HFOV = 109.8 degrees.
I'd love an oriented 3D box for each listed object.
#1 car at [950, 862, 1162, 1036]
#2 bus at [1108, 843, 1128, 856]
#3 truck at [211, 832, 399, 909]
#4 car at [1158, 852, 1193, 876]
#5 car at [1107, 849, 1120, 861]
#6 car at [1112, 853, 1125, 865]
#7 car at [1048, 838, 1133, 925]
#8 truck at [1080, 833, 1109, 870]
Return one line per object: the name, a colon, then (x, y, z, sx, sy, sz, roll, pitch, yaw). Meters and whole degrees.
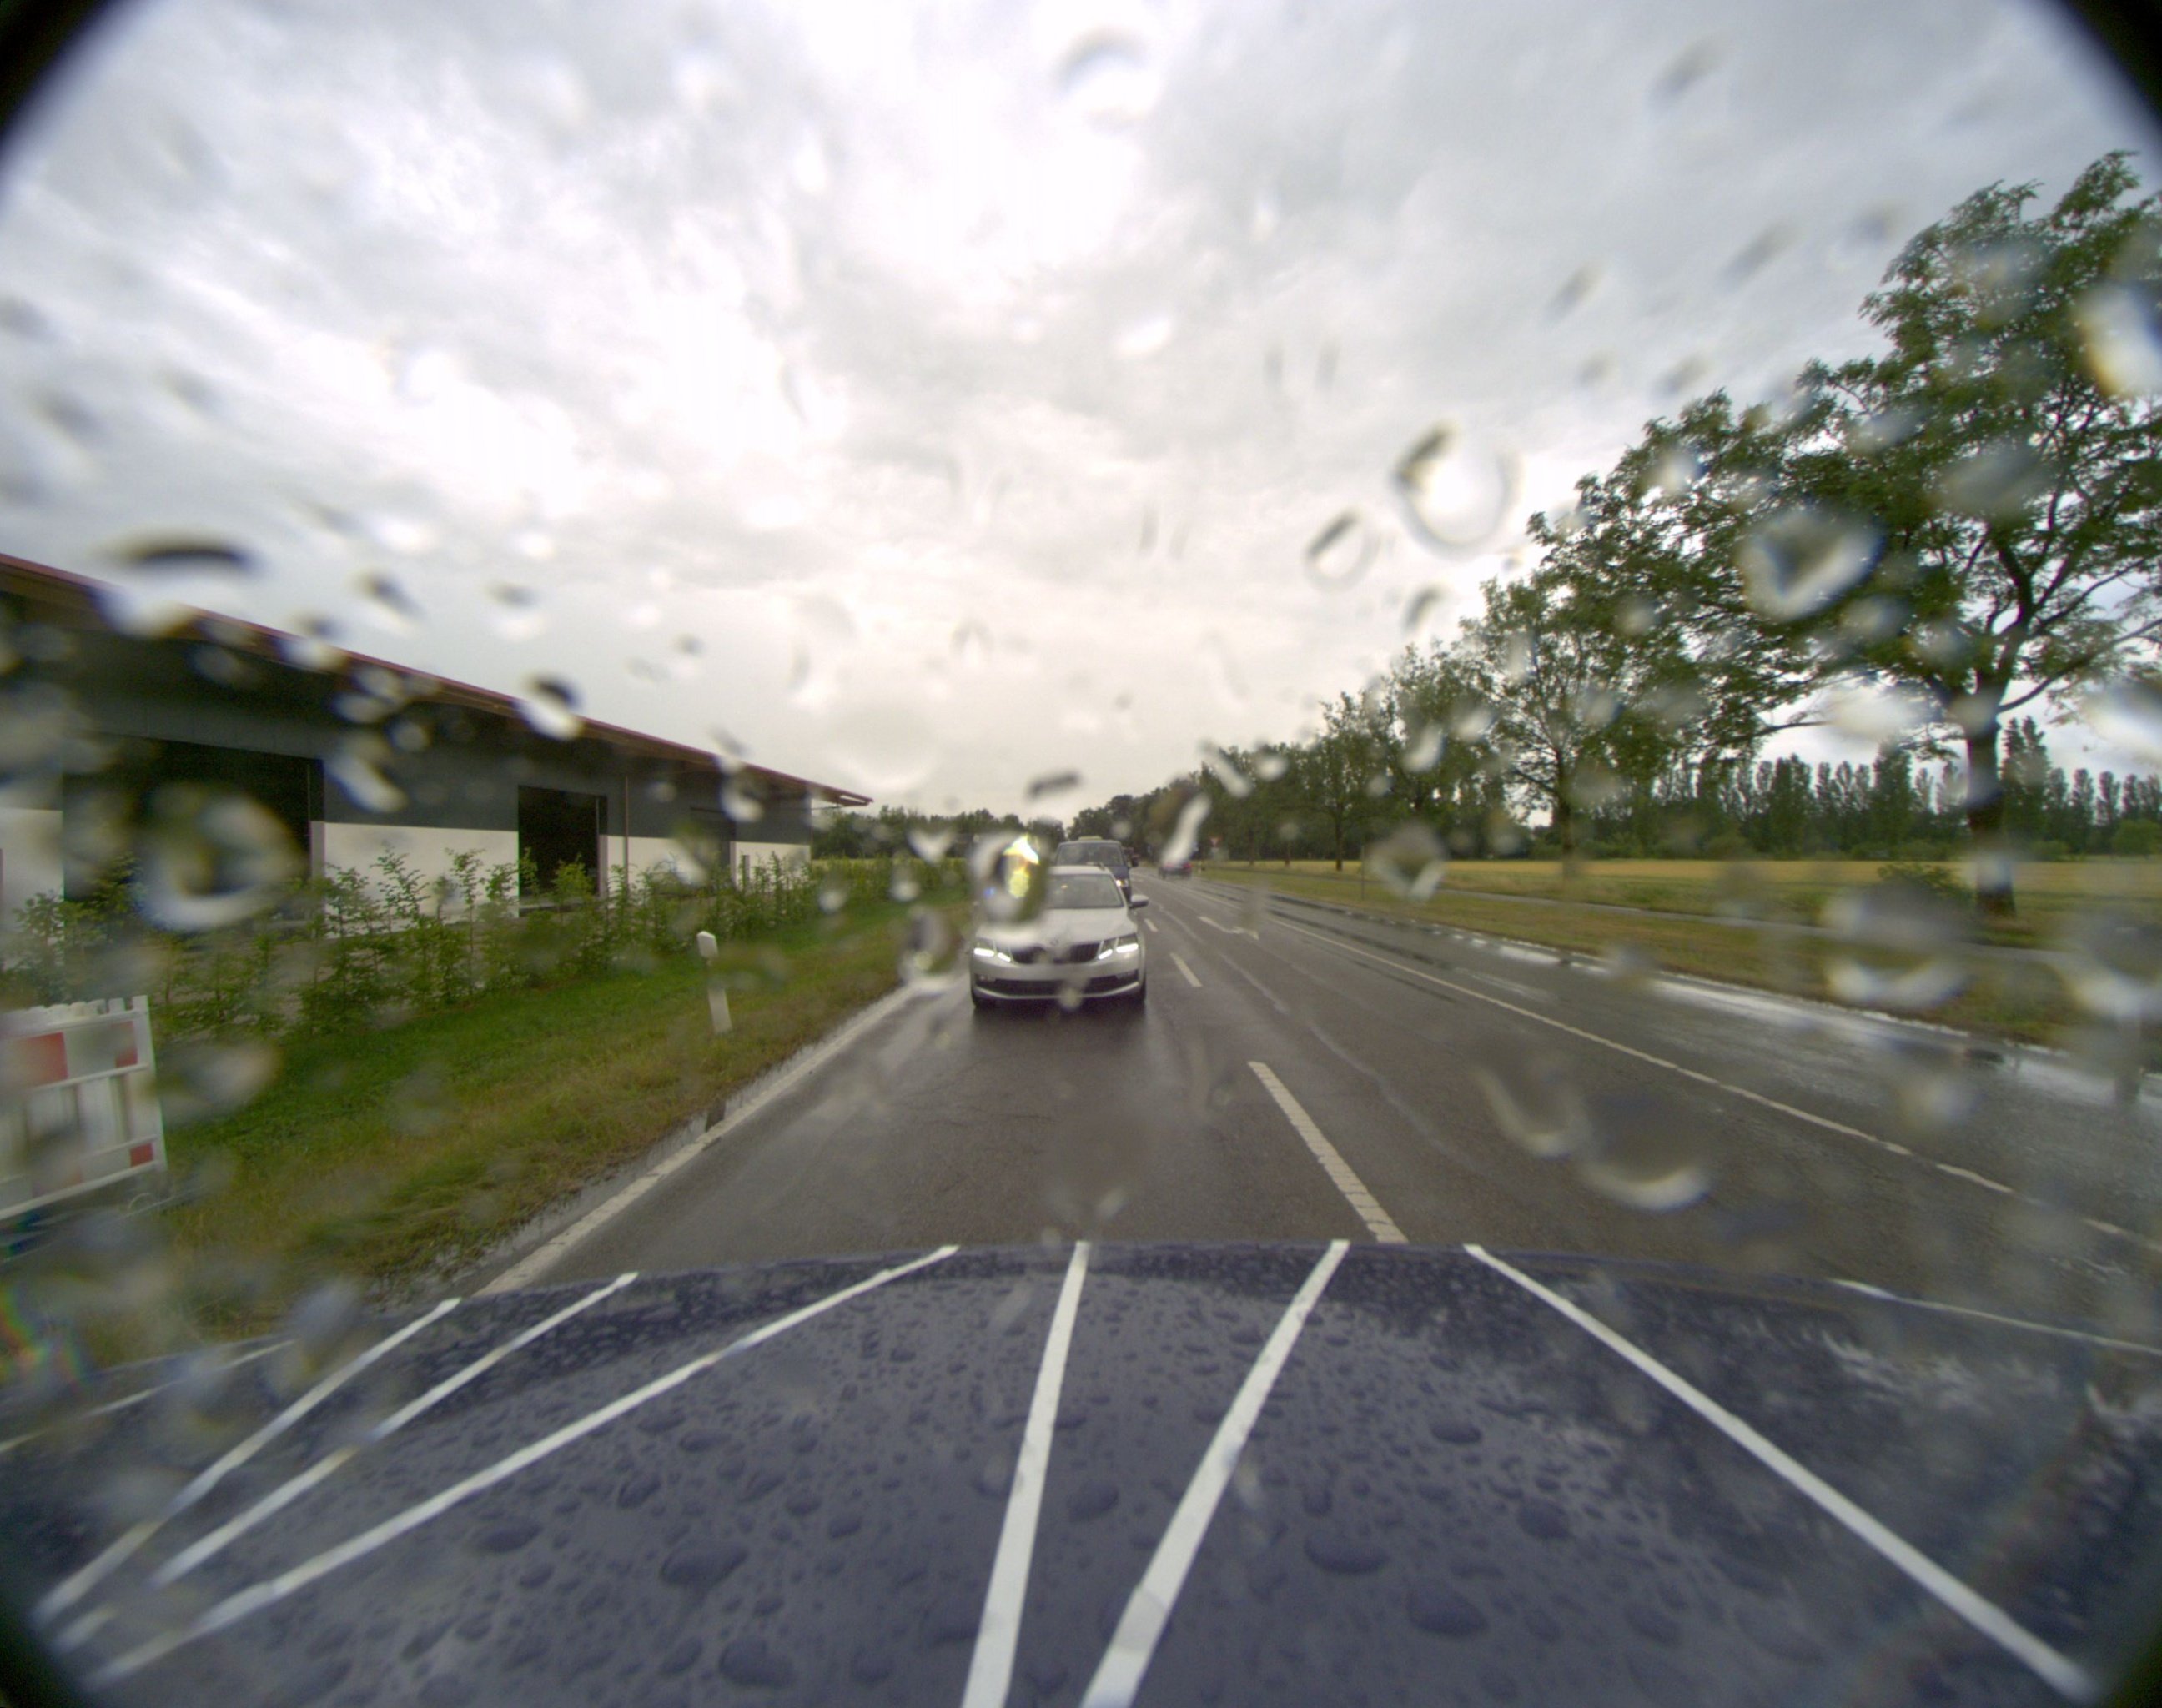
car: (-0.193, 0.881, 9.077, 1.843, 1.379, 4.569, -2, 1, 1)
bus: (8.492, -1.018, 170.742, 2.955, 2.895, 12.484, 0, 1, 10)
truck: (-32.926, 0.635, 32.575, 2.496, 2.996, 5.343, 0, 1, 1)
car: (6.096, 0.615, 49.444, 1.724, 1.396, 4.043, 1, 1, 0)
car: (5.310, 0.084, 124.231, 1.921, 1.851, 4.684, 1, 1, 0)
car: (5.389, 0.680, 110.234, 1.708, 1.661, 4.156, 1, 1, 2)
car: (0.238, 0.604, 19.122, 1.892, 1.939, 4.000, 0, 1, 1)
truck: (1.453, -0.277, 85.077, 2.931, 3.828, 14.119, 0, 0, 1)
